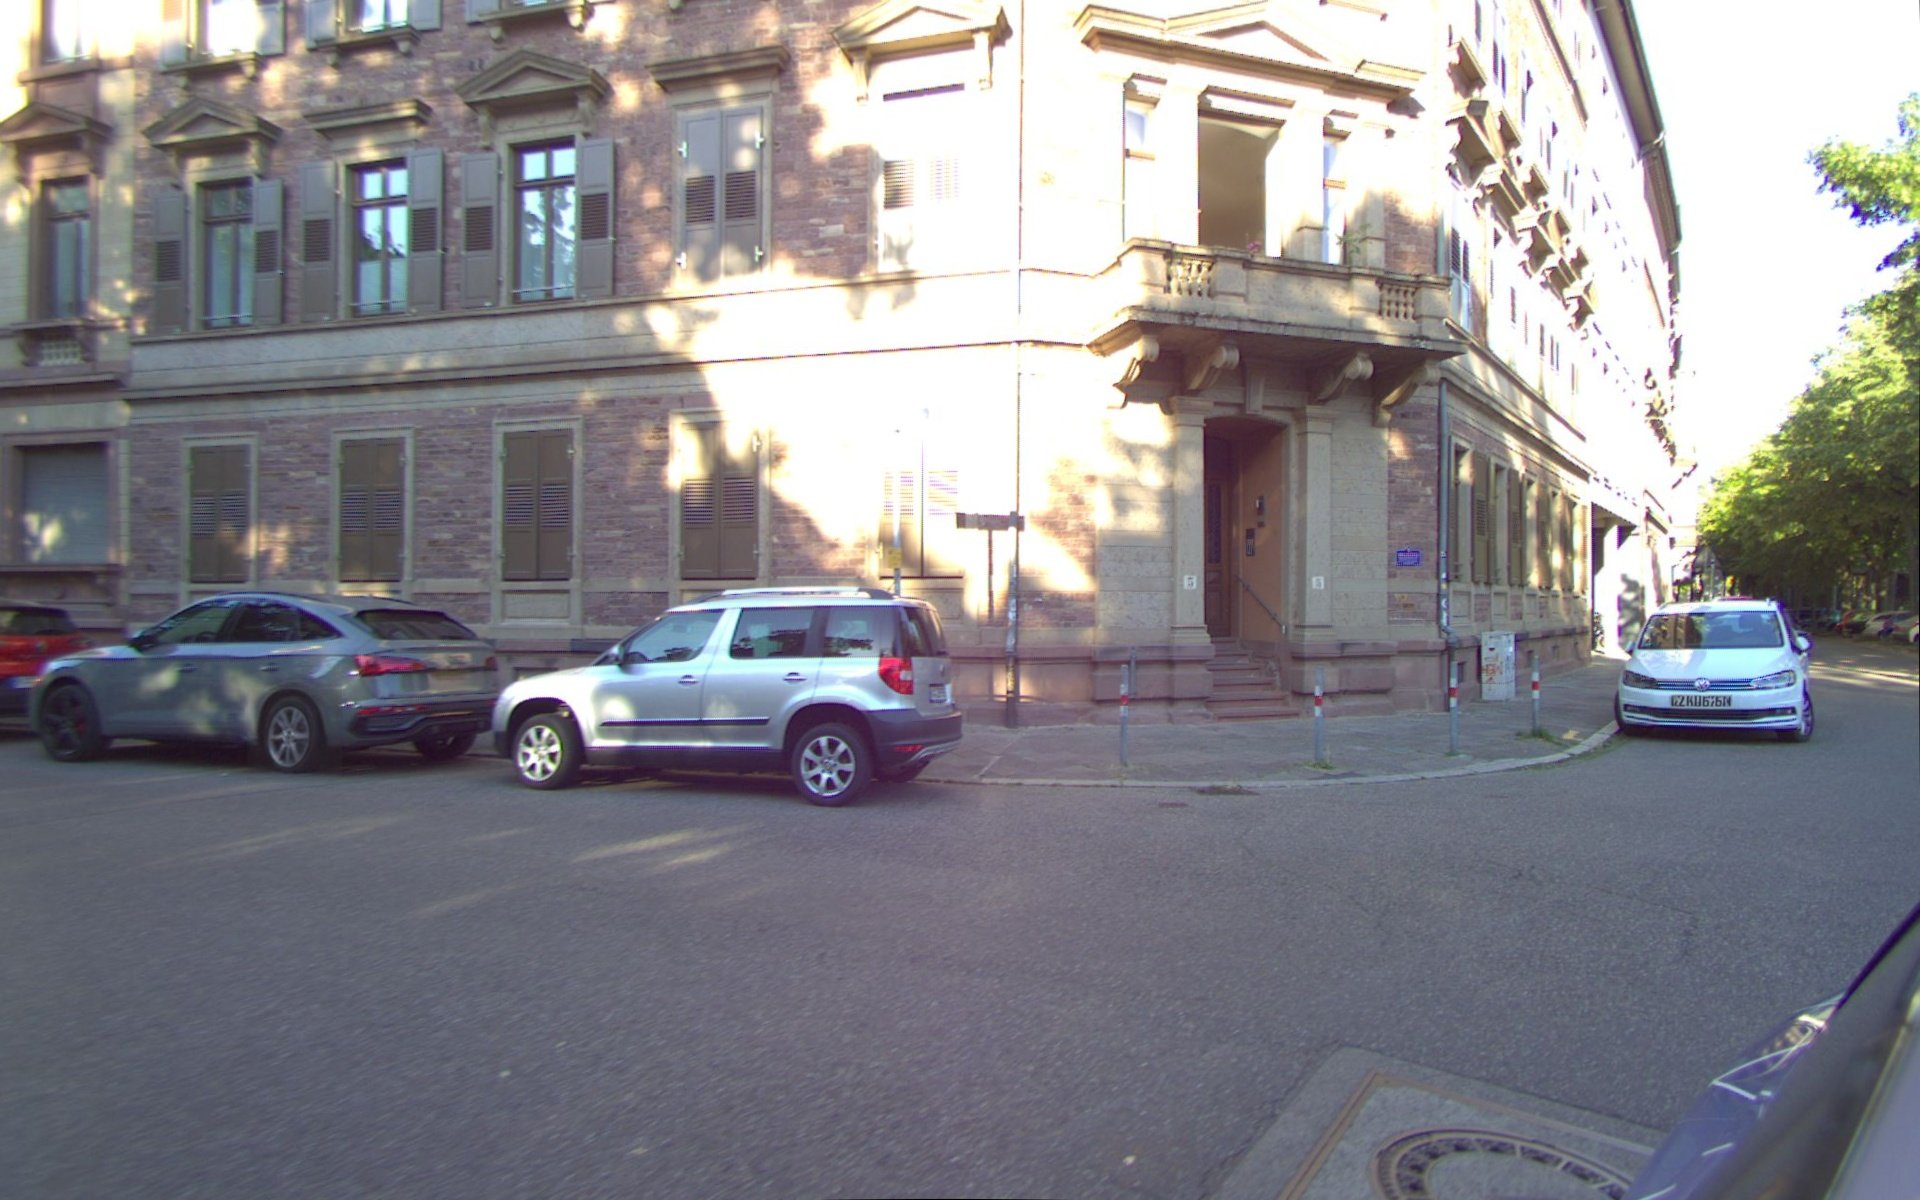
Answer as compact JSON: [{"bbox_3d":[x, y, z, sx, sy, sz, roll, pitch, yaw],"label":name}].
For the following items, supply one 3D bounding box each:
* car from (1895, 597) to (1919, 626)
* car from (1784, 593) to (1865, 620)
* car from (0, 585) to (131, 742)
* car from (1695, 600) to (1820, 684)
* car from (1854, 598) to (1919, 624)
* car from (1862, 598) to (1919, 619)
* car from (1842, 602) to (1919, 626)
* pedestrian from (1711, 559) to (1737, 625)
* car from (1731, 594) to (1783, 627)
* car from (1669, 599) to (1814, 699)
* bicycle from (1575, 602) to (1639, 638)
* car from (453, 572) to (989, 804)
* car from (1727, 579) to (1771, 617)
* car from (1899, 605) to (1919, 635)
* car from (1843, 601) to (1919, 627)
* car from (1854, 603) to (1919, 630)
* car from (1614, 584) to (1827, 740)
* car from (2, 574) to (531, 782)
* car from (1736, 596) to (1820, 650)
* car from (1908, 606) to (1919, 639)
[{"bbox_3d":[44.947,0.566,45.426,1.711,1.295,4.009,0,1,-20],"label":"car"},{"bbox_3d":[60.943,0.438,71.387,1.714,1.789,4.002,0,1,-34],"label":"car"},{"bbox_3d":[-11.805,0.662,11.388,3.895,1.635,1.796,0,-2,13],"label":"car"},{"bbox_3d":[16.159,0.788,20.431,1.734,1.509,4.102,-3,-2,41],"label":"car"},{"bbox_3d":[50.108,0.585,53.406,1.711,1.295,4.009,0,1,-20],"label":"car"},{"bbox_3d":[61.138,0.564,65.290,1.711,1.295,4.009,0,1,-20],"label":"car"},{"bbox_3d":[55.223,0.817,60.065,1.711,1.295,4.009,0,1,-20],"label":"car"},{"bbox_3d":[34.799,-0.351,46.106,0.915,2.985,0.691,0,0,37],"label":"pedestrian"},{"bbox_3d":[41.043,0.509,52.208,1.989,1.587,4.551,1,1,37],"label":"car"},{"bbox_3d":[13.302,0.765,17.215,1.733,1.509,3.672,-3,-2,39],"label":"car"},{"bbox_3d":[20.965,0.643,32.779,2.053,1.130,0.684,0,0,-22],"label":"bicycle"},{"bbox_3d":[-1.968,0.686,8.807,4.126,1.678,1.912,0,-3,15],"label":"car"},{"bbox_3d":[47.394,-0.152,60.844,1.989,2.200,4.551,1,1,37],"label":"car"},{"bbox_3d":[43.101,0.906,43.262,1.711,1.295,4.009,0,1,-20],"label":"car"},{"bbox_3d":[51.424,0.770,55.635,1.711,1.295,4.009,0,1,-20],"label":"car"},{"bbox_3d":[48.139,0.843,51.222,1.711,1.295,4.009,0,1,-20],"label":"car"},{"bbox_3d":[9.973,0.690,13.128,1.866,1.671,4.431,-3,-2,41],"label":"car"},{"bbox_3d":[-6.773,0.684,10.001,4.479,1.746,1.822,0,-3,16],"label":"car"},{"bbox_3d":[26.617,0.670,32.927,1.991,1.587,4.527,1,1,40],"label":"car"},{"bbox_3d":[39.383,0.950,38.665,1.771,1.295,4.291,0,1,-19],"label":"car"}]
